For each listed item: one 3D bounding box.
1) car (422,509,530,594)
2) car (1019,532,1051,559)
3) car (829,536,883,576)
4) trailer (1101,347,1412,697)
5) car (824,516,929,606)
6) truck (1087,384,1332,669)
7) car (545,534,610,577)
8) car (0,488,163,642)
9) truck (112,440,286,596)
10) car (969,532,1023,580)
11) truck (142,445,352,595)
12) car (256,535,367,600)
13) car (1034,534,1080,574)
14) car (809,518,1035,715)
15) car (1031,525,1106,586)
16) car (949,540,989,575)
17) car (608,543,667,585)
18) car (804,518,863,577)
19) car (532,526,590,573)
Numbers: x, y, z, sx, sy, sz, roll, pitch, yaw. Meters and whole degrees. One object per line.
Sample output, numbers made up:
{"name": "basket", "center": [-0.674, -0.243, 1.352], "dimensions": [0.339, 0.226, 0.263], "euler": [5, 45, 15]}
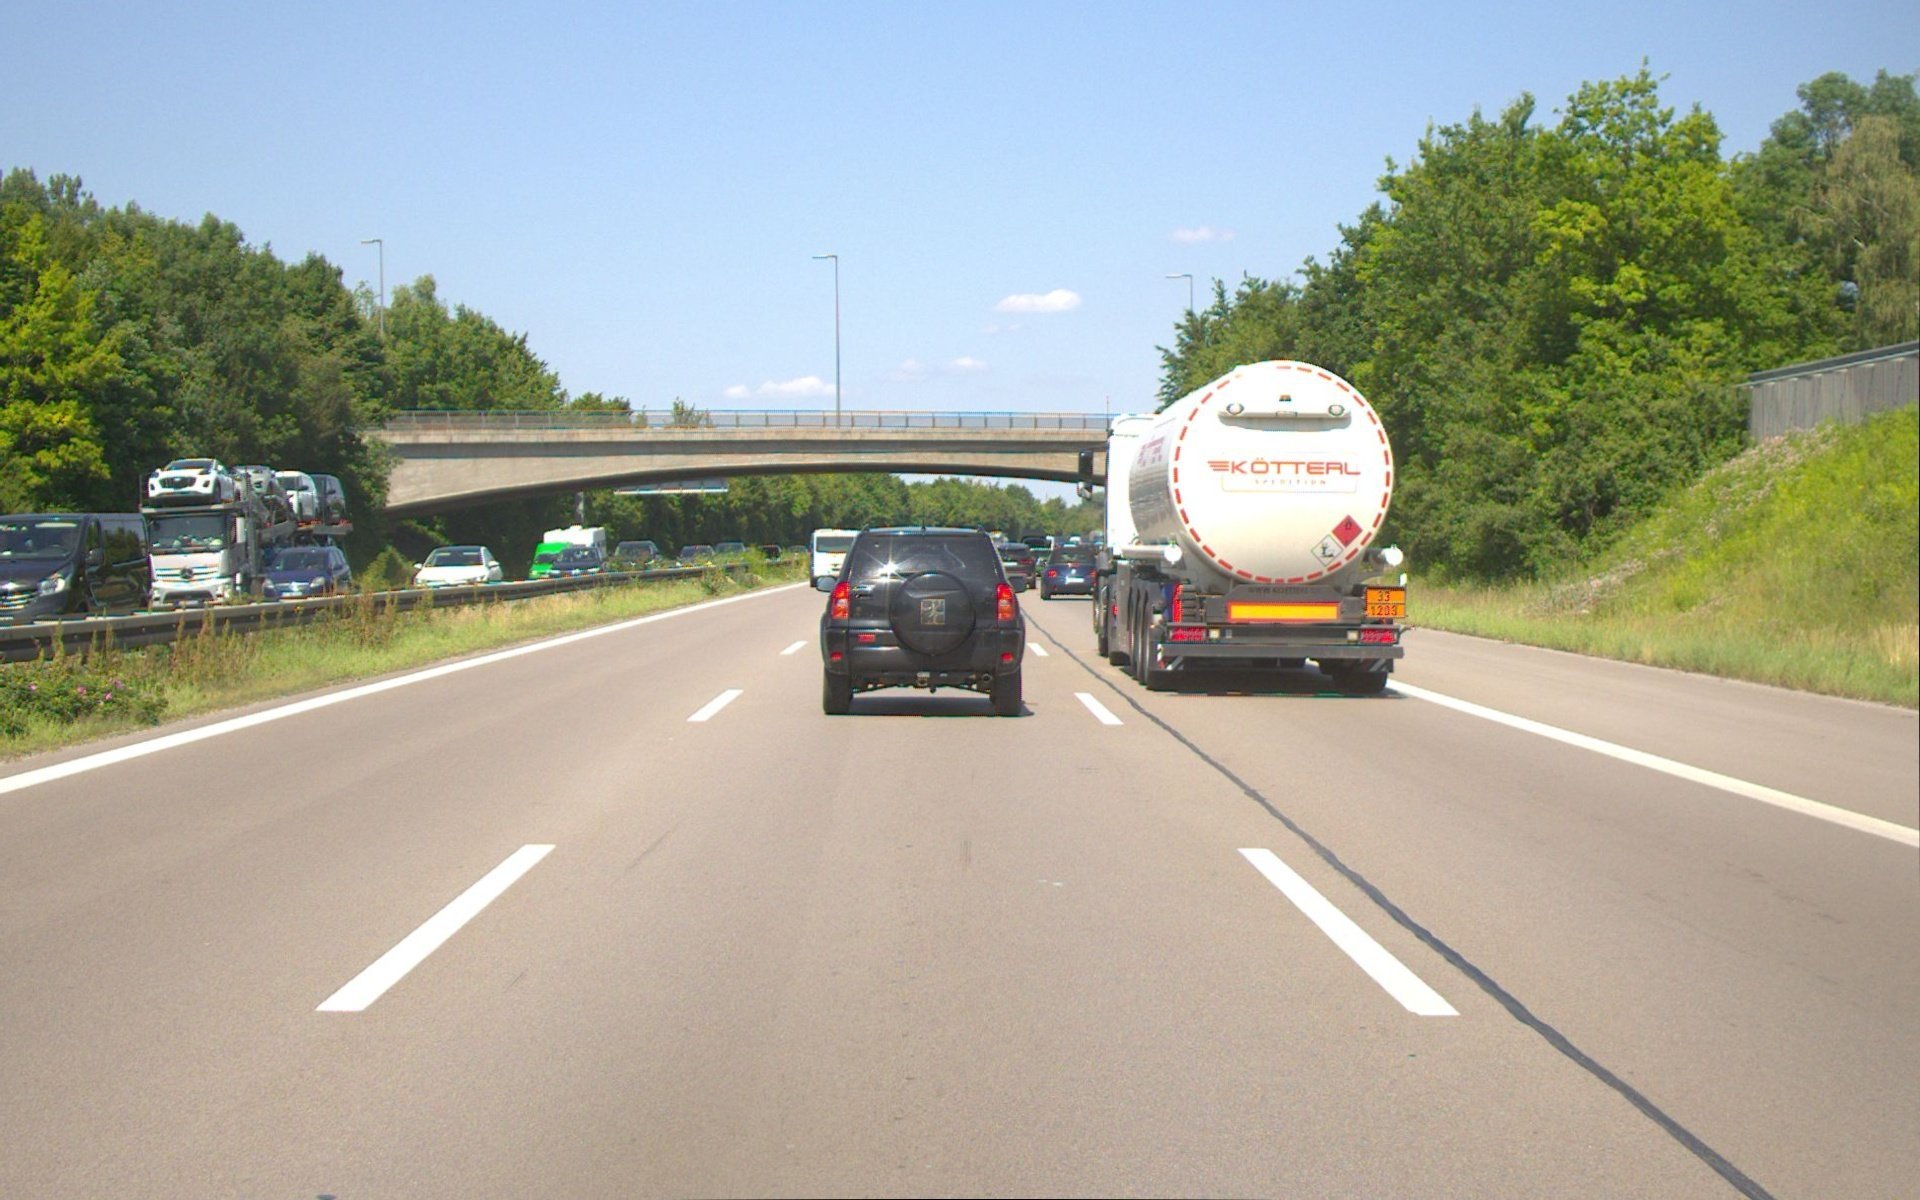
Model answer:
{"name": "car", "center": [-11.903, -1.162, 84.819], "dimensions": [1.993, 2.007, 4.914], "euler": [0, 0, 0]}
{"name": "car", "center": [4.817, -3.507, 221.321], "dimensions": [1.812, 1.740, 4.000], "euler": [-1, 1, -1]}
{"name": "car", "center": [-4.178, -1.776, 139.016], "dimensions": [1.993, 1.547, 4.000], "euler": [0, 0, 1]}
{"name": "trailer", "center": [3.113, -0.850, 39.080], "dimensions": [2.648, 3.378, 11.152], "euler": [1, 1, 1]}
{"name": "car", "center": [-1.687, -0.786, 68.559], "dimensions": [1.993, 1.700, 4.336], "euler": [-1, 1, -2]}
{"name": "truck", "center": [3.094, -0.931, 44.233], "dimensions": [2.638, 3.363, 6.488], "euler": [1, 1, 0]}
{"name": "car", "center": [-12.815, -1.494, 115.212], "dimensions": [1.716, 1.385, 4.000], "euler": [-1, 1, 0]}
{"name": "car", "center": [-12.429, -0.490, 46.390], "dimensions": [2.090, 1.938, 5.689], "euler": [-1, 1, -1]}
{"name": "truck", "center": [-20.690, -2.229, 93.910], "dimensions": [3.240, 4.036, 7.396], "euler": [-1, 1, -2]}
{"name": "car", "center": [1.267, -1.524, 120.608], "dimensions": [1.842, 1.606, 4.000], "euler": [0, 0, 1]}
{"name": "truck", "center": [-20.960, -2.338, 102.280], "dimensions": [3.211, 4.036, 16.677], "euler": [-1, 1, -2]}
{"name": "car", "center": [-16.526, -0.848, 87.797], "dimensions": [1.993, 1.608, 4.581], "euler": [-1, 1, 0]}
{"name": "car", "center": [4.364, -2.087, 154.760], "dimensions": [1.993, 1.773, 4.261], "euler": [-1, 1, 1]}
{"name": "car", "center": [-0.351, 0.113, 31.160], "dimensions": [1.906, 1.659, 4.000], "euler": [0, 1, -1]}
{"name": "car", "center": [3.089, -1.257, 98.273], "dimensions": [1.993, 1.678, 4.000], "euler": [0, 0, 0]}
{"name": "car", "center": [0.442, -2.188, 175.859], "dimensions": [1.993, 1.744, 4.205], "euler": [0, 1, 0]}
{"name": "car", "center": [-12.453, -1.362, 132.854], "dimensions": [1.849, 1.568, 4.422], "euler": [0, 0, 0]}
{"name": "car", "center": [-4.431, -1.831, 121.141], "dimensions": [1.993, 2.007, 4.950], "euler": [-1, 1, -2]}
{"name": "car", "center": [-15.791, -2.001, 136.277], "dimensions": [1.814, 1.802, 4.382], "euler": [0, 1, -1]}
